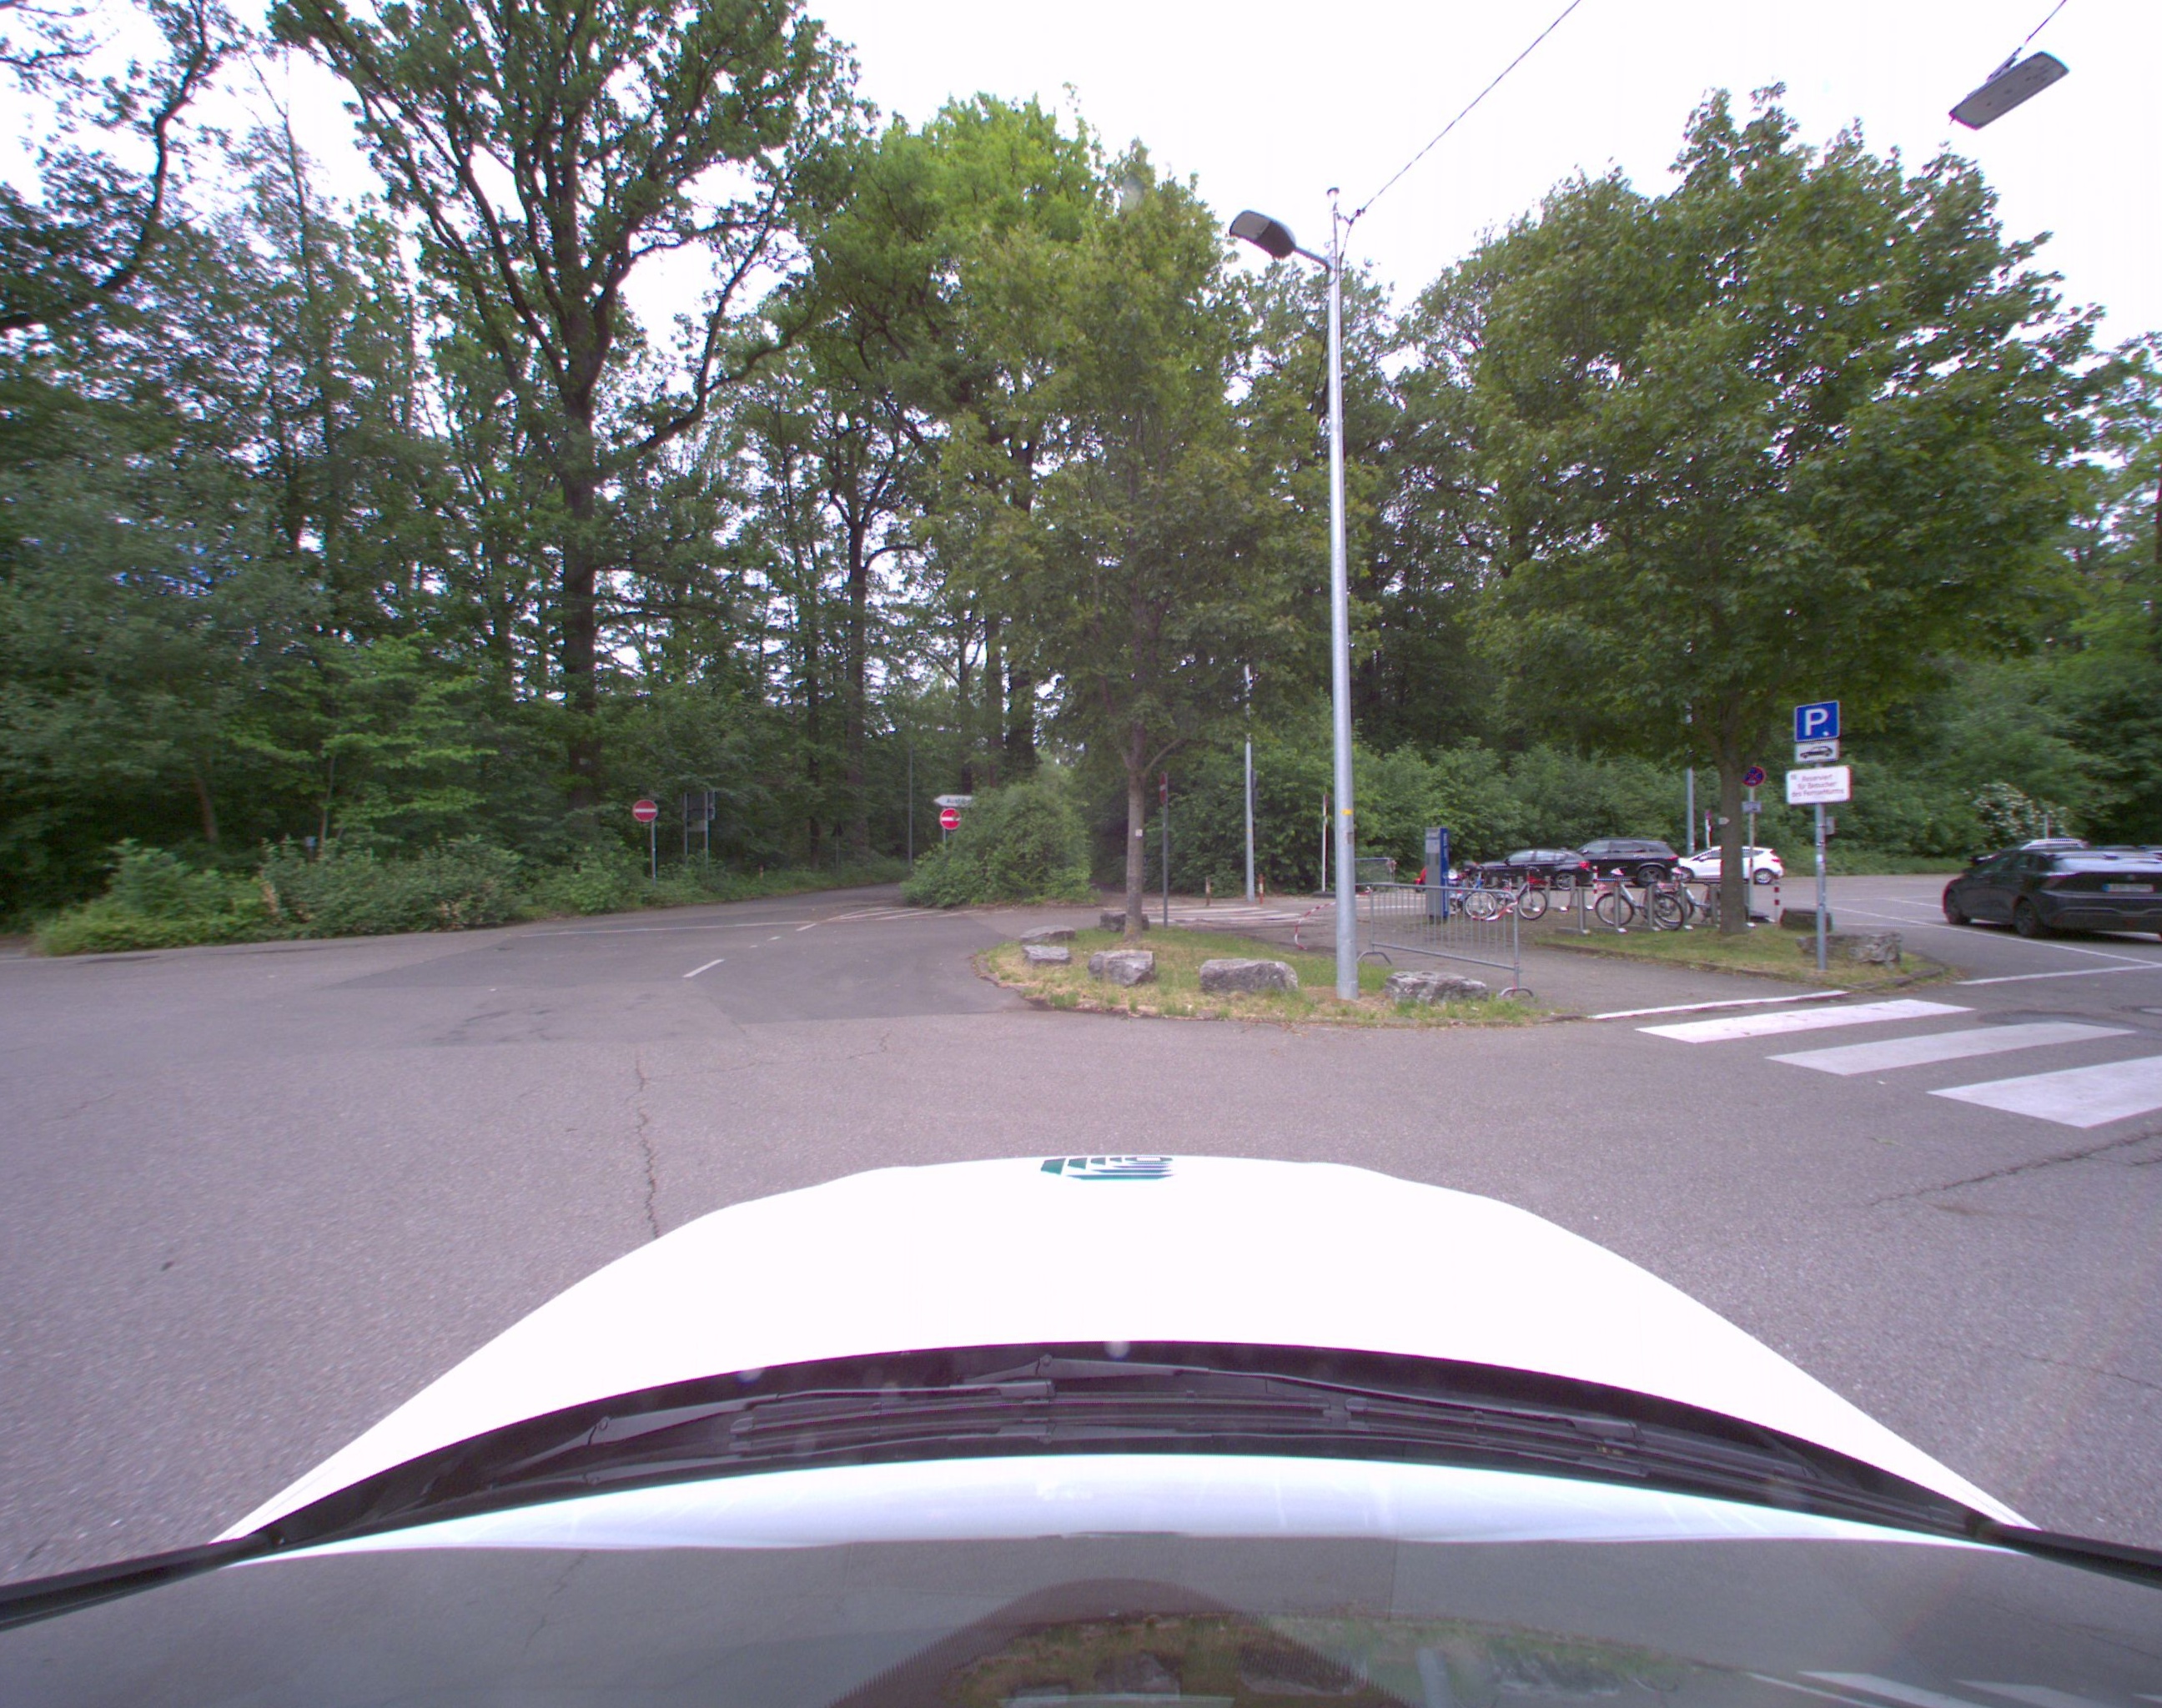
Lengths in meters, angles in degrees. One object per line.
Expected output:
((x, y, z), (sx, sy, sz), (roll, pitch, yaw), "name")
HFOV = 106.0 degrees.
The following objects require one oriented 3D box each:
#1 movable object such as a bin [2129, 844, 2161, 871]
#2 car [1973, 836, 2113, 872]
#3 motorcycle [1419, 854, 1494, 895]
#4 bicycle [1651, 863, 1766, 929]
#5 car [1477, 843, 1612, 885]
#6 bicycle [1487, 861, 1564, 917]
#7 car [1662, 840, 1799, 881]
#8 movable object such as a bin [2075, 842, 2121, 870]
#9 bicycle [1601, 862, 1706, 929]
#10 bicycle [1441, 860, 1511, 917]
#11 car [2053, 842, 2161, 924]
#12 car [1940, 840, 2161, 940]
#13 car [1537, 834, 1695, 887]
((53.749, 0.169, 40.940), (1.113, 1.314, 1.192), (0, 0, 43), "movable object such as a bin")
((46.887, -0.028, 39.835), (4.020, 1.685, 1.892), (0, 0, 29), "car")
((11.726, 0.619, 25.474), (2.003, 1.207, 0.735), (0, 0, 38), "motorcycle")
((11.571, 0.739, 15.092), (0.482, 1.111, 1.780), (0, 0, -14), "bicycle")
((15.971, 0.310, 28.224), (3.949, 1.376, 1.750), (0, 0, 28), "car")
((9.485, 0.726, 17.445), (0.504, 1.111, 1.679), (0, 0, -11), "bicycle")
((25.339, 0.249, 31.955), (3.949, 1.510, 1.881), (0, 0, 28), "car")
((52.662, 0.091, 42.160), (1.128, 1.425, 1.122), (0, 0, -14), "movable object such as a bin")
((10.348, 0.713, 14.790), (0.482, 1.111, 1.677), (0, 0, -14), "bicycle")
((8.386, 0.704, 17.359), (0.481, 1.111, 1.692), (0, 0, -9), "bicycle")
((20.853, 0.516, 15.272), (1.854, 1.483, 4.023), (0, 0, 25), "car")
((17.243, 0.527, 14.352), (1.807, 1.523, 4.126), (0, 0, 30), "car")
((19.316, 0.222, 29.686), (4.649, 1.767, 2.125), (0, 0, 28), "car")
